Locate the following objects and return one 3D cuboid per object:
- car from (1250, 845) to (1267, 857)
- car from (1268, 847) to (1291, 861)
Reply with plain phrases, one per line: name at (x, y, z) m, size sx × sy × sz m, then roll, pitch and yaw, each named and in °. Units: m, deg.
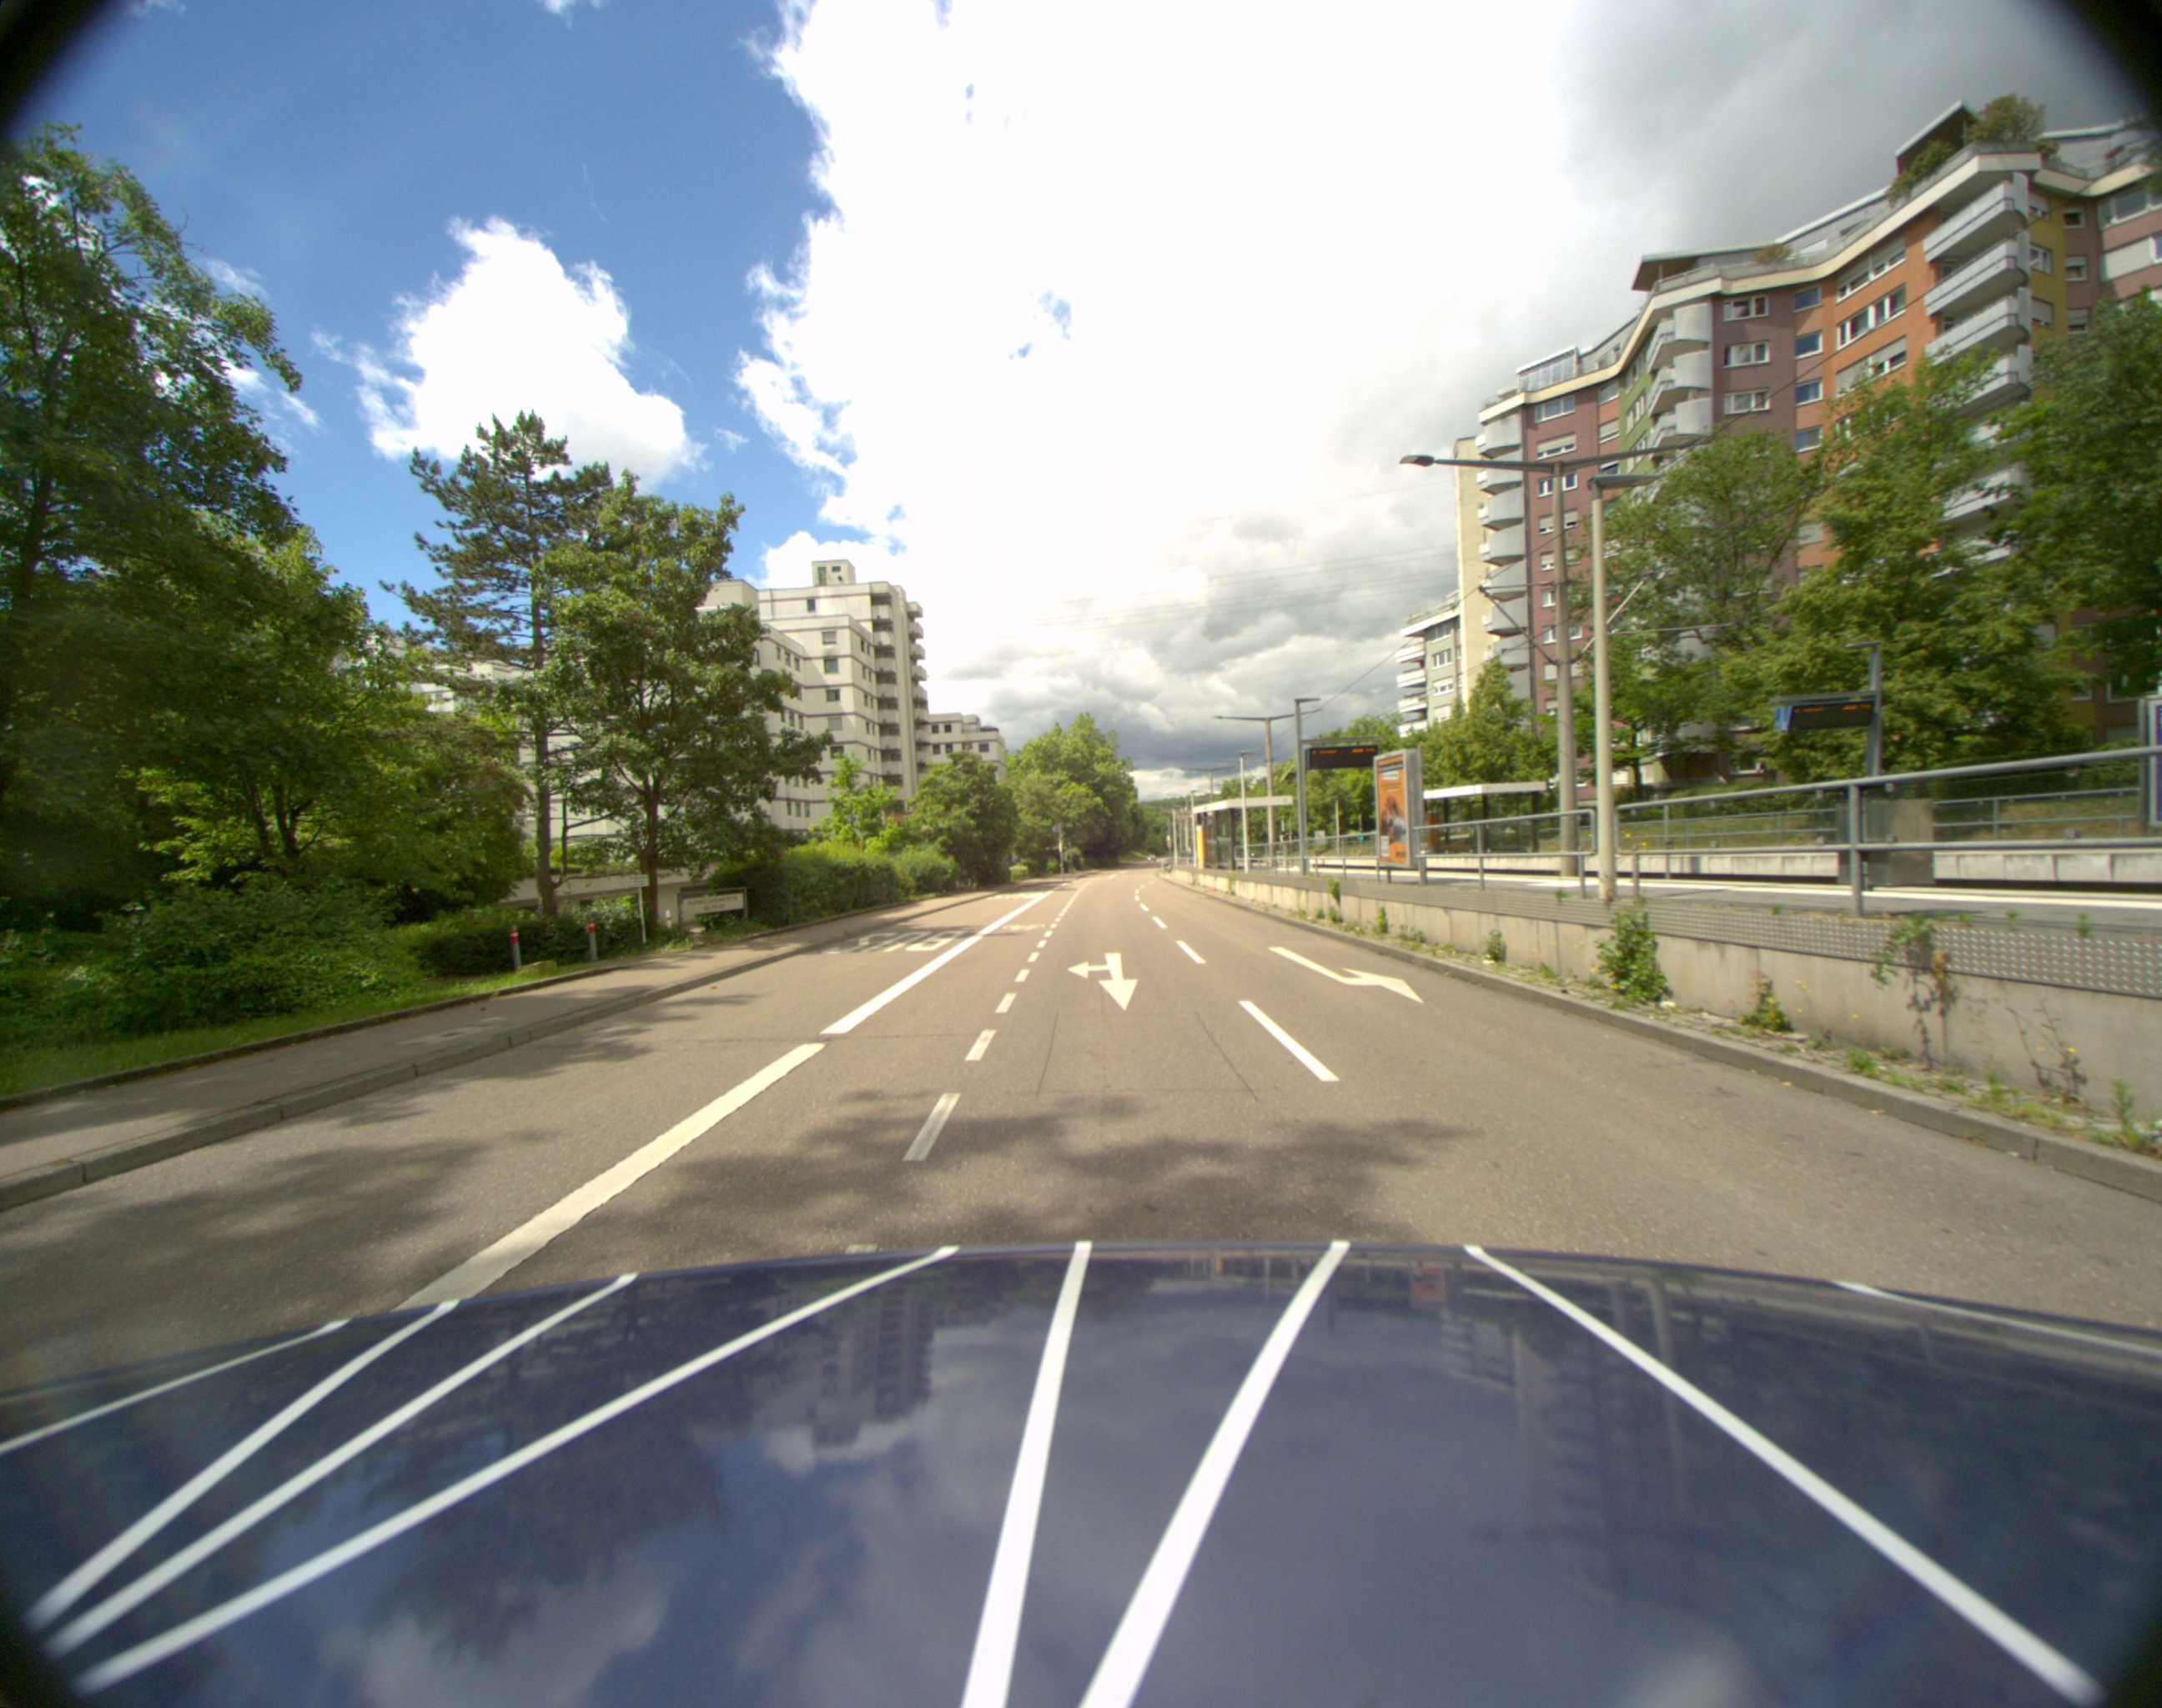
car at (23.980, -0.431, 102.896) m, size 1.658 × 1.503 × 3.738 m, roll -2°, pitch 0°, yaw 5°
car at (22.486, 0.010, 86.180) m, size 1.658 × 1.410 × 4.000 m, roll -2°, pitch 0°, yaw 1°
